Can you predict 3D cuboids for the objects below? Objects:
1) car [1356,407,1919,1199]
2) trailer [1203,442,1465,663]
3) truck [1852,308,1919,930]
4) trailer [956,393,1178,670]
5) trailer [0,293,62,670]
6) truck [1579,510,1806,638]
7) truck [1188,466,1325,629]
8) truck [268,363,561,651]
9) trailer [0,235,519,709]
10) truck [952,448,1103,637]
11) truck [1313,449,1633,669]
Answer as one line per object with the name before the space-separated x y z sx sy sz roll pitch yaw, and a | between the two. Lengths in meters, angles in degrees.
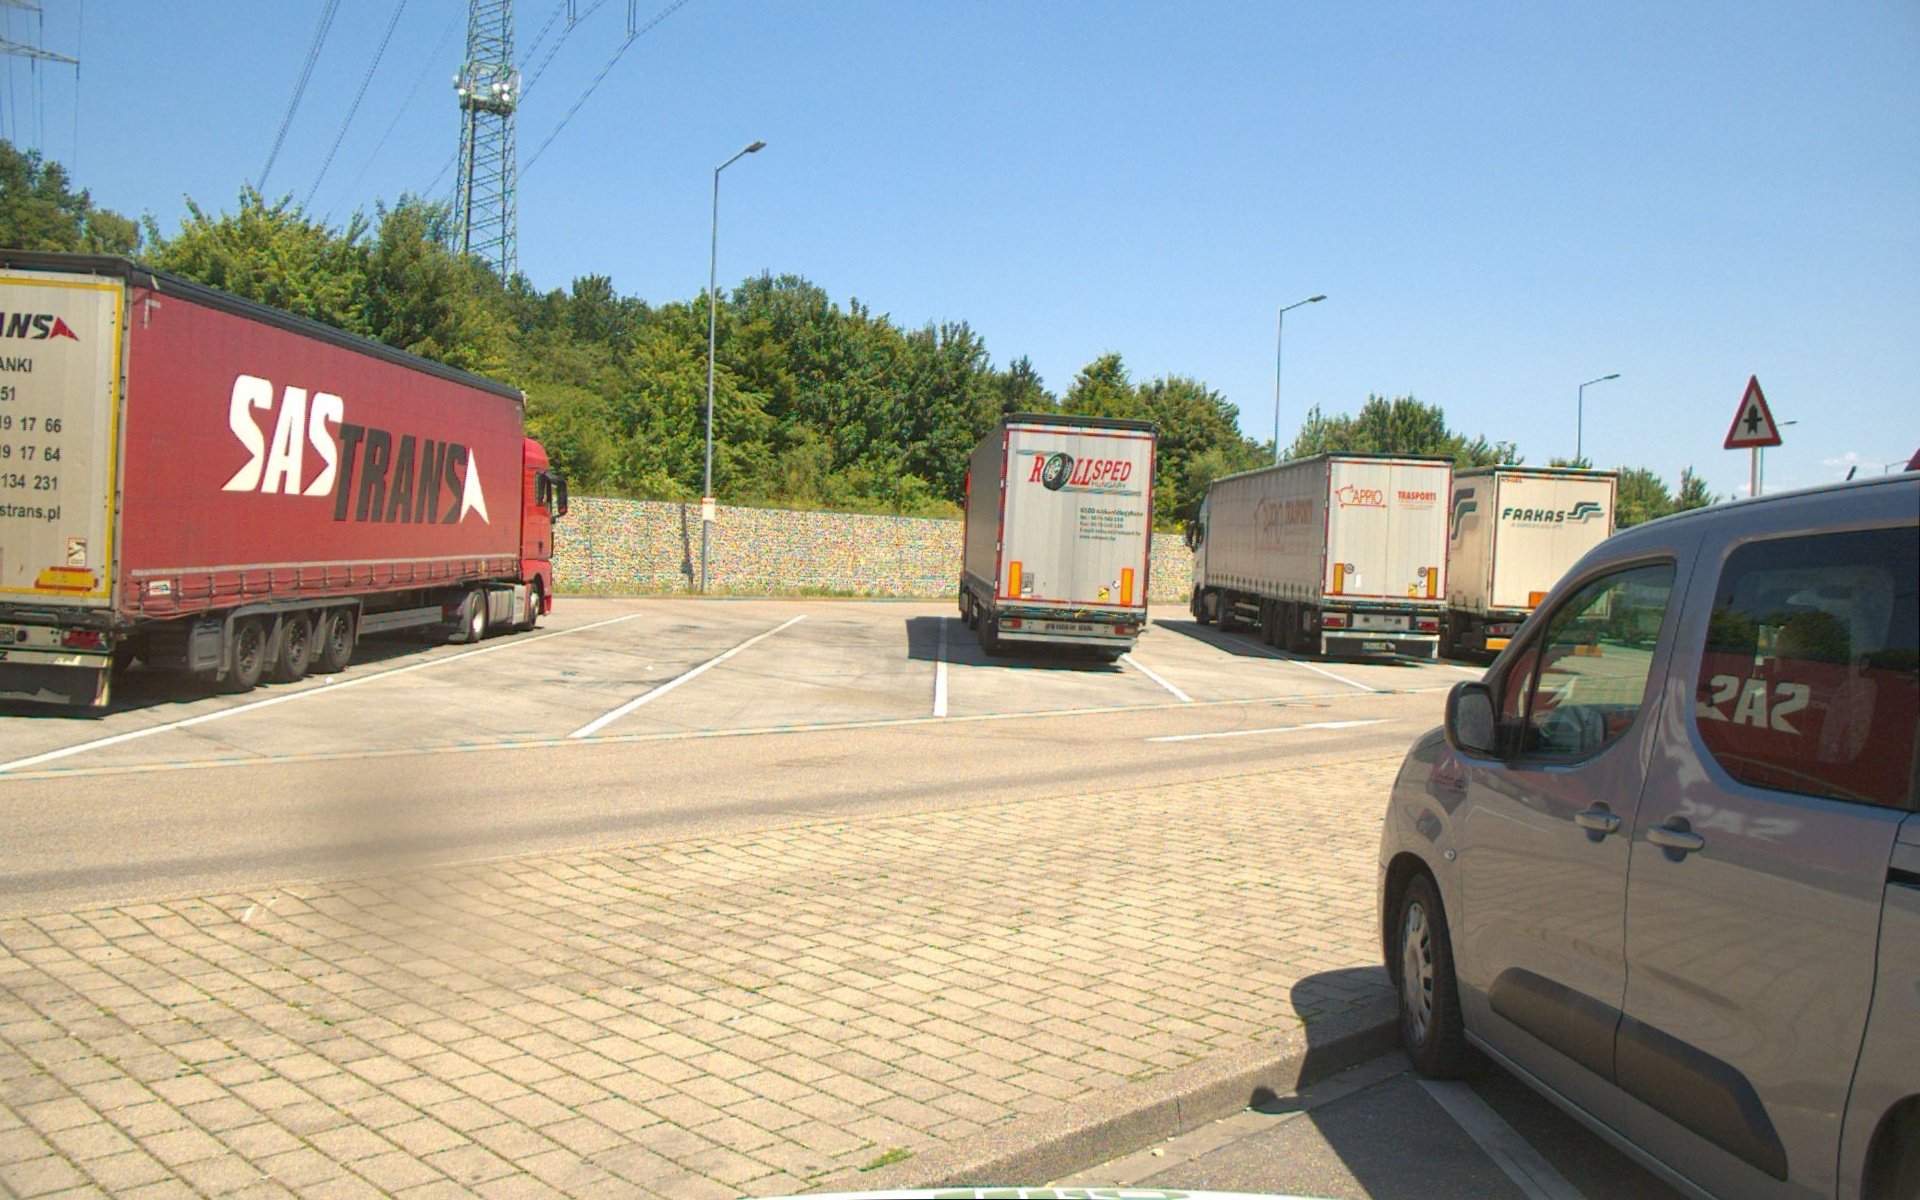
car | 2.426 0.558 3.829 1.790 1.784 3.997 1 1 -4
trailer | 8.195 -1.051 38.623 2.818 4.196 13.569 1 1 -1
truck | 4.973 0.131 4.950 1.952 2.669 5.305 1 1 3
trailer | 1.690 -1.317 32.691 3.008 4.301 12.805 2 2 -2
trailer | -12.417 -1.313 15.459 2.689 4.337 9.733 1 1 0
truck | 21.947 -0.809 50.199 2.963 3.497 8.529 1 1 -1
truck | 8.062 -1.414 45.622 2.701 4.196 5.283 1 1 -1
truck | -8.783 -1.424 27.550 2.687 4.152 6.828 1 1 -1
trailer | -8.689 -1.263 21.109 2.694 4.128 13.285 1 1 -1
truck | 1.457 -1.383 39.456 2.965 3.997 6.845 2 2 -2
truck | 11.707 -0.958 40.007 2.846 4.195 14.525 3 1 -1
